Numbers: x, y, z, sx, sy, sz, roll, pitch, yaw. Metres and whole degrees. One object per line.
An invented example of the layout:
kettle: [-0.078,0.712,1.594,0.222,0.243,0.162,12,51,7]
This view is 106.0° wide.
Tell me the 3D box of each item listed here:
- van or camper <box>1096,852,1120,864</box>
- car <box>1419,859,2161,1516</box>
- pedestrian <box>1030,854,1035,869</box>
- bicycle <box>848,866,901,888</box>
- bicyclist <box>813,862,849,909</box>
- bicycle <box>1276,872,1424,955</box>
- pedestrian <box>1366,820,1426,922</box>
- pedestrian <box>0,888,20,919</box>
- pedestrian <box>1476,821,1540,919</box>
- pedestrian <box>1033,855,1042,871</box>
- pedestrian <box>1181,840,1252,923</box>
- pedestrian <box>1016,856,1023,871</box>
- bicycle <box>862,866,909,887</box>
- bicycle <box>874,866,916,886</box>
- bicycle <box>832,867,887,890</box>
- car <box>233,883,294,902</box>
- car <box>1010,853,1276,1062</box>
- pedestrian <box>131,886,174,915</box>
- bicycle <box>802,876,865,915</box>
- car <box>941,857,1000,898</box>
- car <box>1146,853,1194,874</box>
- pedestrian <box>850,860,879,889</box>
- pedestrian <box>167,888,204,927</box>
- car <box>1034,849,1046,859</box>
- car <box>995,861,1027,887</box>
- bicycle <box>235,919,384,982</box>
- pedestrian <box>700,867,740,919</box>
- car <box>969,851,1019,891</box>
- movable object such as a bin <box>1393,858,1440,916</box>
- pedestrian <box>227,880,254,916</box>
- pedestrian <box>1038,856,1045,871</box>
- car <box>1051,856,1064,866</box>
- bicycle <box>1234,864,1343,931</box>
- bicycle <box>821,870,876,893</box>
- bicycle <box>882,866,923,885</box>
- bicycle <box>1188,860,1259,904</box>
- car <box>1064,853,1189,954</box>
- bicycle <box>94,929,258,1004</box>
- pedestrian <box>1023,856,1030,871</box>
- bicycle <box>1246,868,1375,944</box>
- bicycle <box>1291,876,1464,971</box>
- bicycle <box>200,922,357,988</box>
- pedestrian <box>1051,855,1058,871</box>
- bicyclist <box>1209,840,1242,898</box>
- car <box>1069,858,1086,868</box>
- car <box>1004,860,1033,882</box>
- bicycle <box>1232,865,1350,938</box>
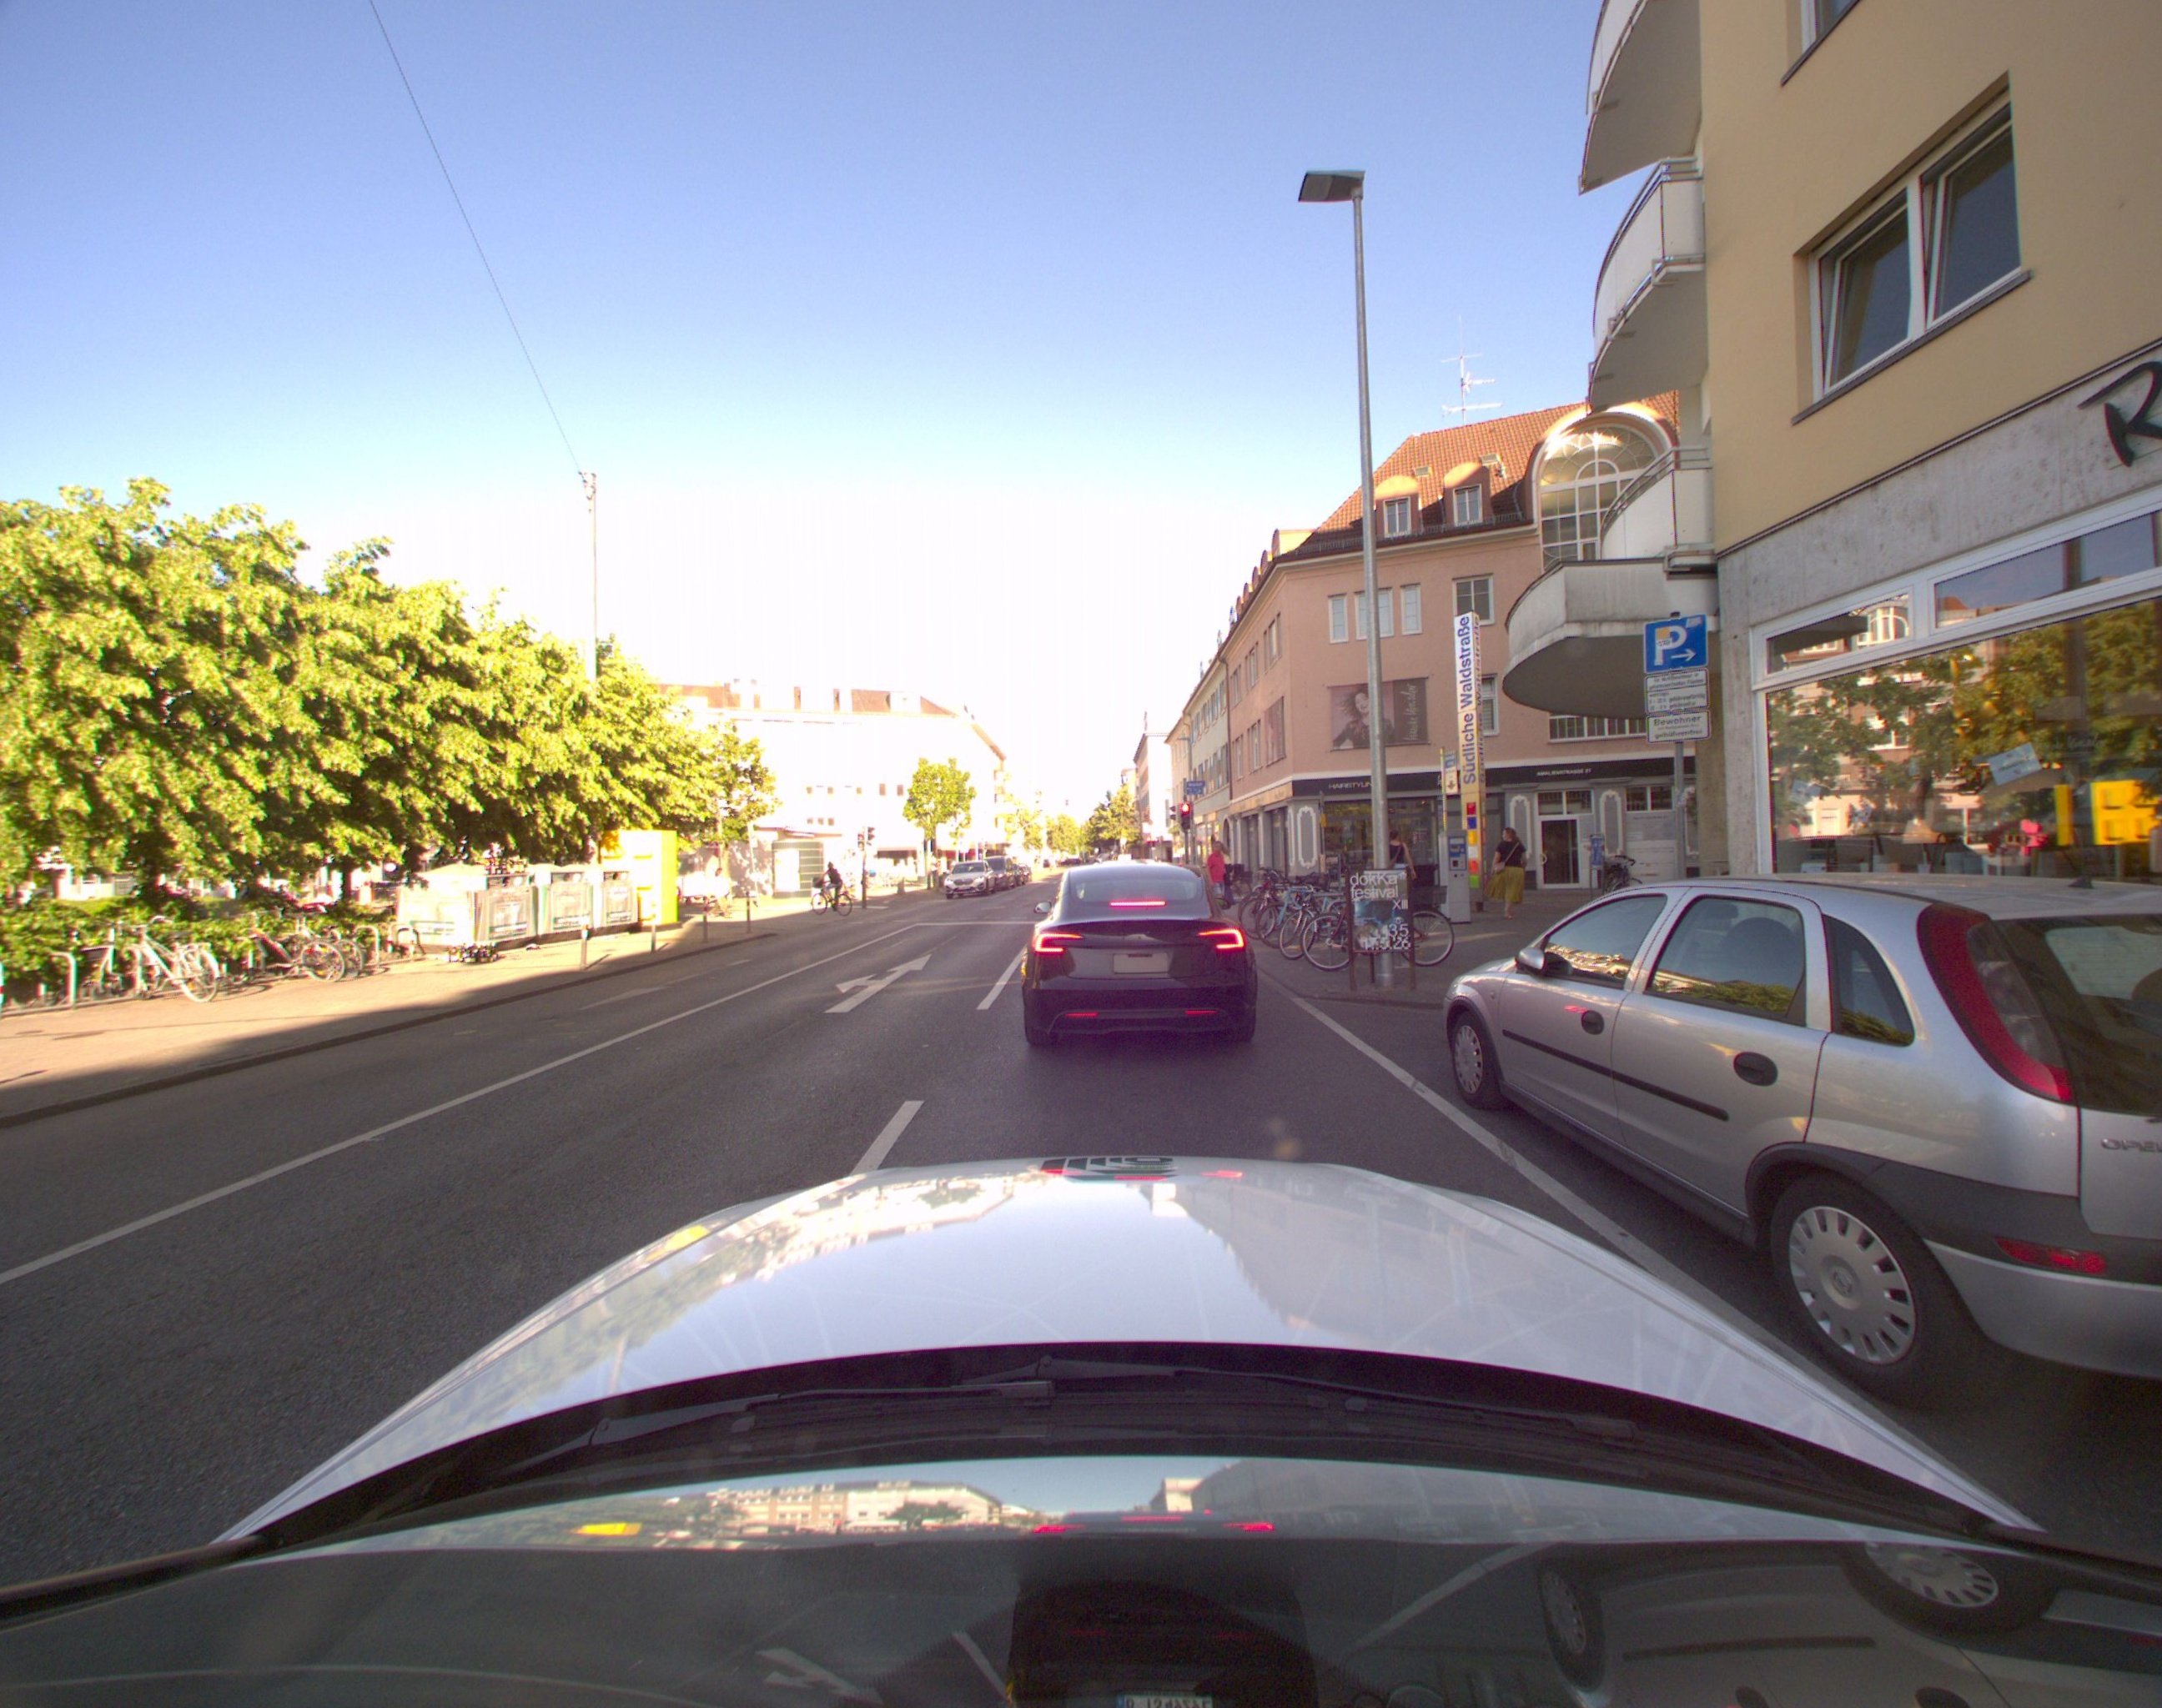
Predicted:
van or camper: [5.633,0.849,167.681,4.833,2.438,1.851,-1,0,1]
car: [2.966,0.741,3.567,1.578,1.426,3.581,0,-1,2]
pedestrian: [-6.214,0.975,104.245,0.693,1.868,0.658,0,-1,-3]
bicycle: [-12.151,1.363,48.004,2.867,1.270,0.942,0,-1,-1]
bicyclist: [-8.034,0.990,26.159,0.946,1.484,0.611,-1,-1,23]
bicycle: [3.661,0.800,11.176,1.806,1.060,0.653,-1,0,3]
pedestrian: [6.007,0.325,15.578,0.678,1.849,0.894,-5,-1,3]
pedestrian: [-66.701,3.063,50.169,1.305,1.842,1.091,0,-1,-31]
pedestrian: [8.025,0.297,15.342,0.717,1.754,0.789,-4,-1,7]
pedestrian: [-5.057,1.098,94.894,0.726,1.868,0.796,-1,-1,30]
pedestrian: [2.926,0.568,17.599,1.099,1.719,1.068,-1,-1,44]
pedestrian: [-7.325,1.133,97.287,0.734,1.868,0.787,0,-1,-15]
bicycle: [-12.051,1.386,50.321,2.655,1.259,0.942,0,-1,-1]
bicycle: [-11.996,1.400,52.597,2.535,1.251,0.942,0,-1,-1]
bicycle: [-12.390,1.370,45.608,2.772,1.274,0.933,0,-1,-2]
car: [-57.730,2.700,57.551,2.758,1.256,1.234,0,-1,-23]
car: [0.501,0.741,7.903,1.843,1.447,4.453,0,0,2]
pedestrian: [-39.690,1.985,34.819,0.926,1.214,0.873,-1,-1,17]
bicycle: [-7.951,1.335,26.117,1.976,1.223,0.633,-1,-2,23]
car: [-4.880,1.016,36.618,1.818,1.565,4.302,-5,-1,2]
car: [8.149,0.873,74.671,4.006,1.867,1.686,-1,0,-20]
pedestrian: [-12.504,1.186,47.082,1.085,1.611,1.271,-1,-1,14]
pedestrian: [-37.165,2.197,33.808,0.928,1.520,0.924,0,-1,-43]
car: [-9.021,-0.018,180.158,2.266,2.014,4.720,0,-1,3]
car: [-4.253,1.205,50.067,1.455,1.430,3.607,-5,-1,2]
bicycle: [-11.456,1.426,12.122,1.663,0.859,0.469,0,-1,-5]
pedestrian: [-10.921,1.158,24.649,0.919,1.543,0.694,0,-1,-4]
car: [-4.492,0.835,42.941,1.938,1.947,4.822,-1,0,2]
movable object such as a bin: [6.746,0.662,16.401,0.633,1.103,0.728,-4,-1,5]
pedestrian: [-35.881,1.862,34.755,0.553,1.508,0.611,-1,-1,17]
pedestrian: [-4.779,1.128,98.914,0.697,1.868,0.904,0,-1,-18]
car: [-4.860,1.318,166.829,2.405,1.970,4.679,-1,0,2]
bicycle: [3.742,0.785,14.792,1.806,1.152,0.653,-1,0,3]
bicycle: [-12.321,1.438,43.264,2.652,1.195,0.942,0,-1,-1]
bicycle: [-12.050,1.420,55.024,2.535,1.251,0.942,0,-1,-1]
bicycle: [4.111,0.798,23.619,1.943,1.158,0.577,-3,-1,8]
car: [0.747,0.751,14.327,1.843,1.482,4.453,0,0,2]
bicycle: [-11.456,1.418,10.326,1.560,0.886,0.470,0,-1,1]
pedestrian: [-6.534,1.132,97.784,0.734,1.868,0.787,0,-1,-15]
bicycle: [3.524,0.793,12.588,1.806,1.102,0.653,-1,0,3]
bicycle: [3.641,0.847,10.103,1.875,1.044,0.653,-2,0,2]
bicycle: [-11.421,1.424,11.623,1.667,0.859,0.469,0,-1,-5]
pedestrian: [-3.155,1.098,96.600,0.774,1.868,1.006,0,-1,-9]
bicyclist: [4.183,0.419,23.605,0.821,1.614,0.581,-3,0,9]
car: [-0.728,1.784,161.268,2.044,1.788,3.975,-1,0,-23]
car: [-4.368,1.187,57.737,1.688,1.390,3.915,-3,-1,0]
bicycle: [3.502,0.777,13.663,1.806,1.152,0.653,-1,0,3]
